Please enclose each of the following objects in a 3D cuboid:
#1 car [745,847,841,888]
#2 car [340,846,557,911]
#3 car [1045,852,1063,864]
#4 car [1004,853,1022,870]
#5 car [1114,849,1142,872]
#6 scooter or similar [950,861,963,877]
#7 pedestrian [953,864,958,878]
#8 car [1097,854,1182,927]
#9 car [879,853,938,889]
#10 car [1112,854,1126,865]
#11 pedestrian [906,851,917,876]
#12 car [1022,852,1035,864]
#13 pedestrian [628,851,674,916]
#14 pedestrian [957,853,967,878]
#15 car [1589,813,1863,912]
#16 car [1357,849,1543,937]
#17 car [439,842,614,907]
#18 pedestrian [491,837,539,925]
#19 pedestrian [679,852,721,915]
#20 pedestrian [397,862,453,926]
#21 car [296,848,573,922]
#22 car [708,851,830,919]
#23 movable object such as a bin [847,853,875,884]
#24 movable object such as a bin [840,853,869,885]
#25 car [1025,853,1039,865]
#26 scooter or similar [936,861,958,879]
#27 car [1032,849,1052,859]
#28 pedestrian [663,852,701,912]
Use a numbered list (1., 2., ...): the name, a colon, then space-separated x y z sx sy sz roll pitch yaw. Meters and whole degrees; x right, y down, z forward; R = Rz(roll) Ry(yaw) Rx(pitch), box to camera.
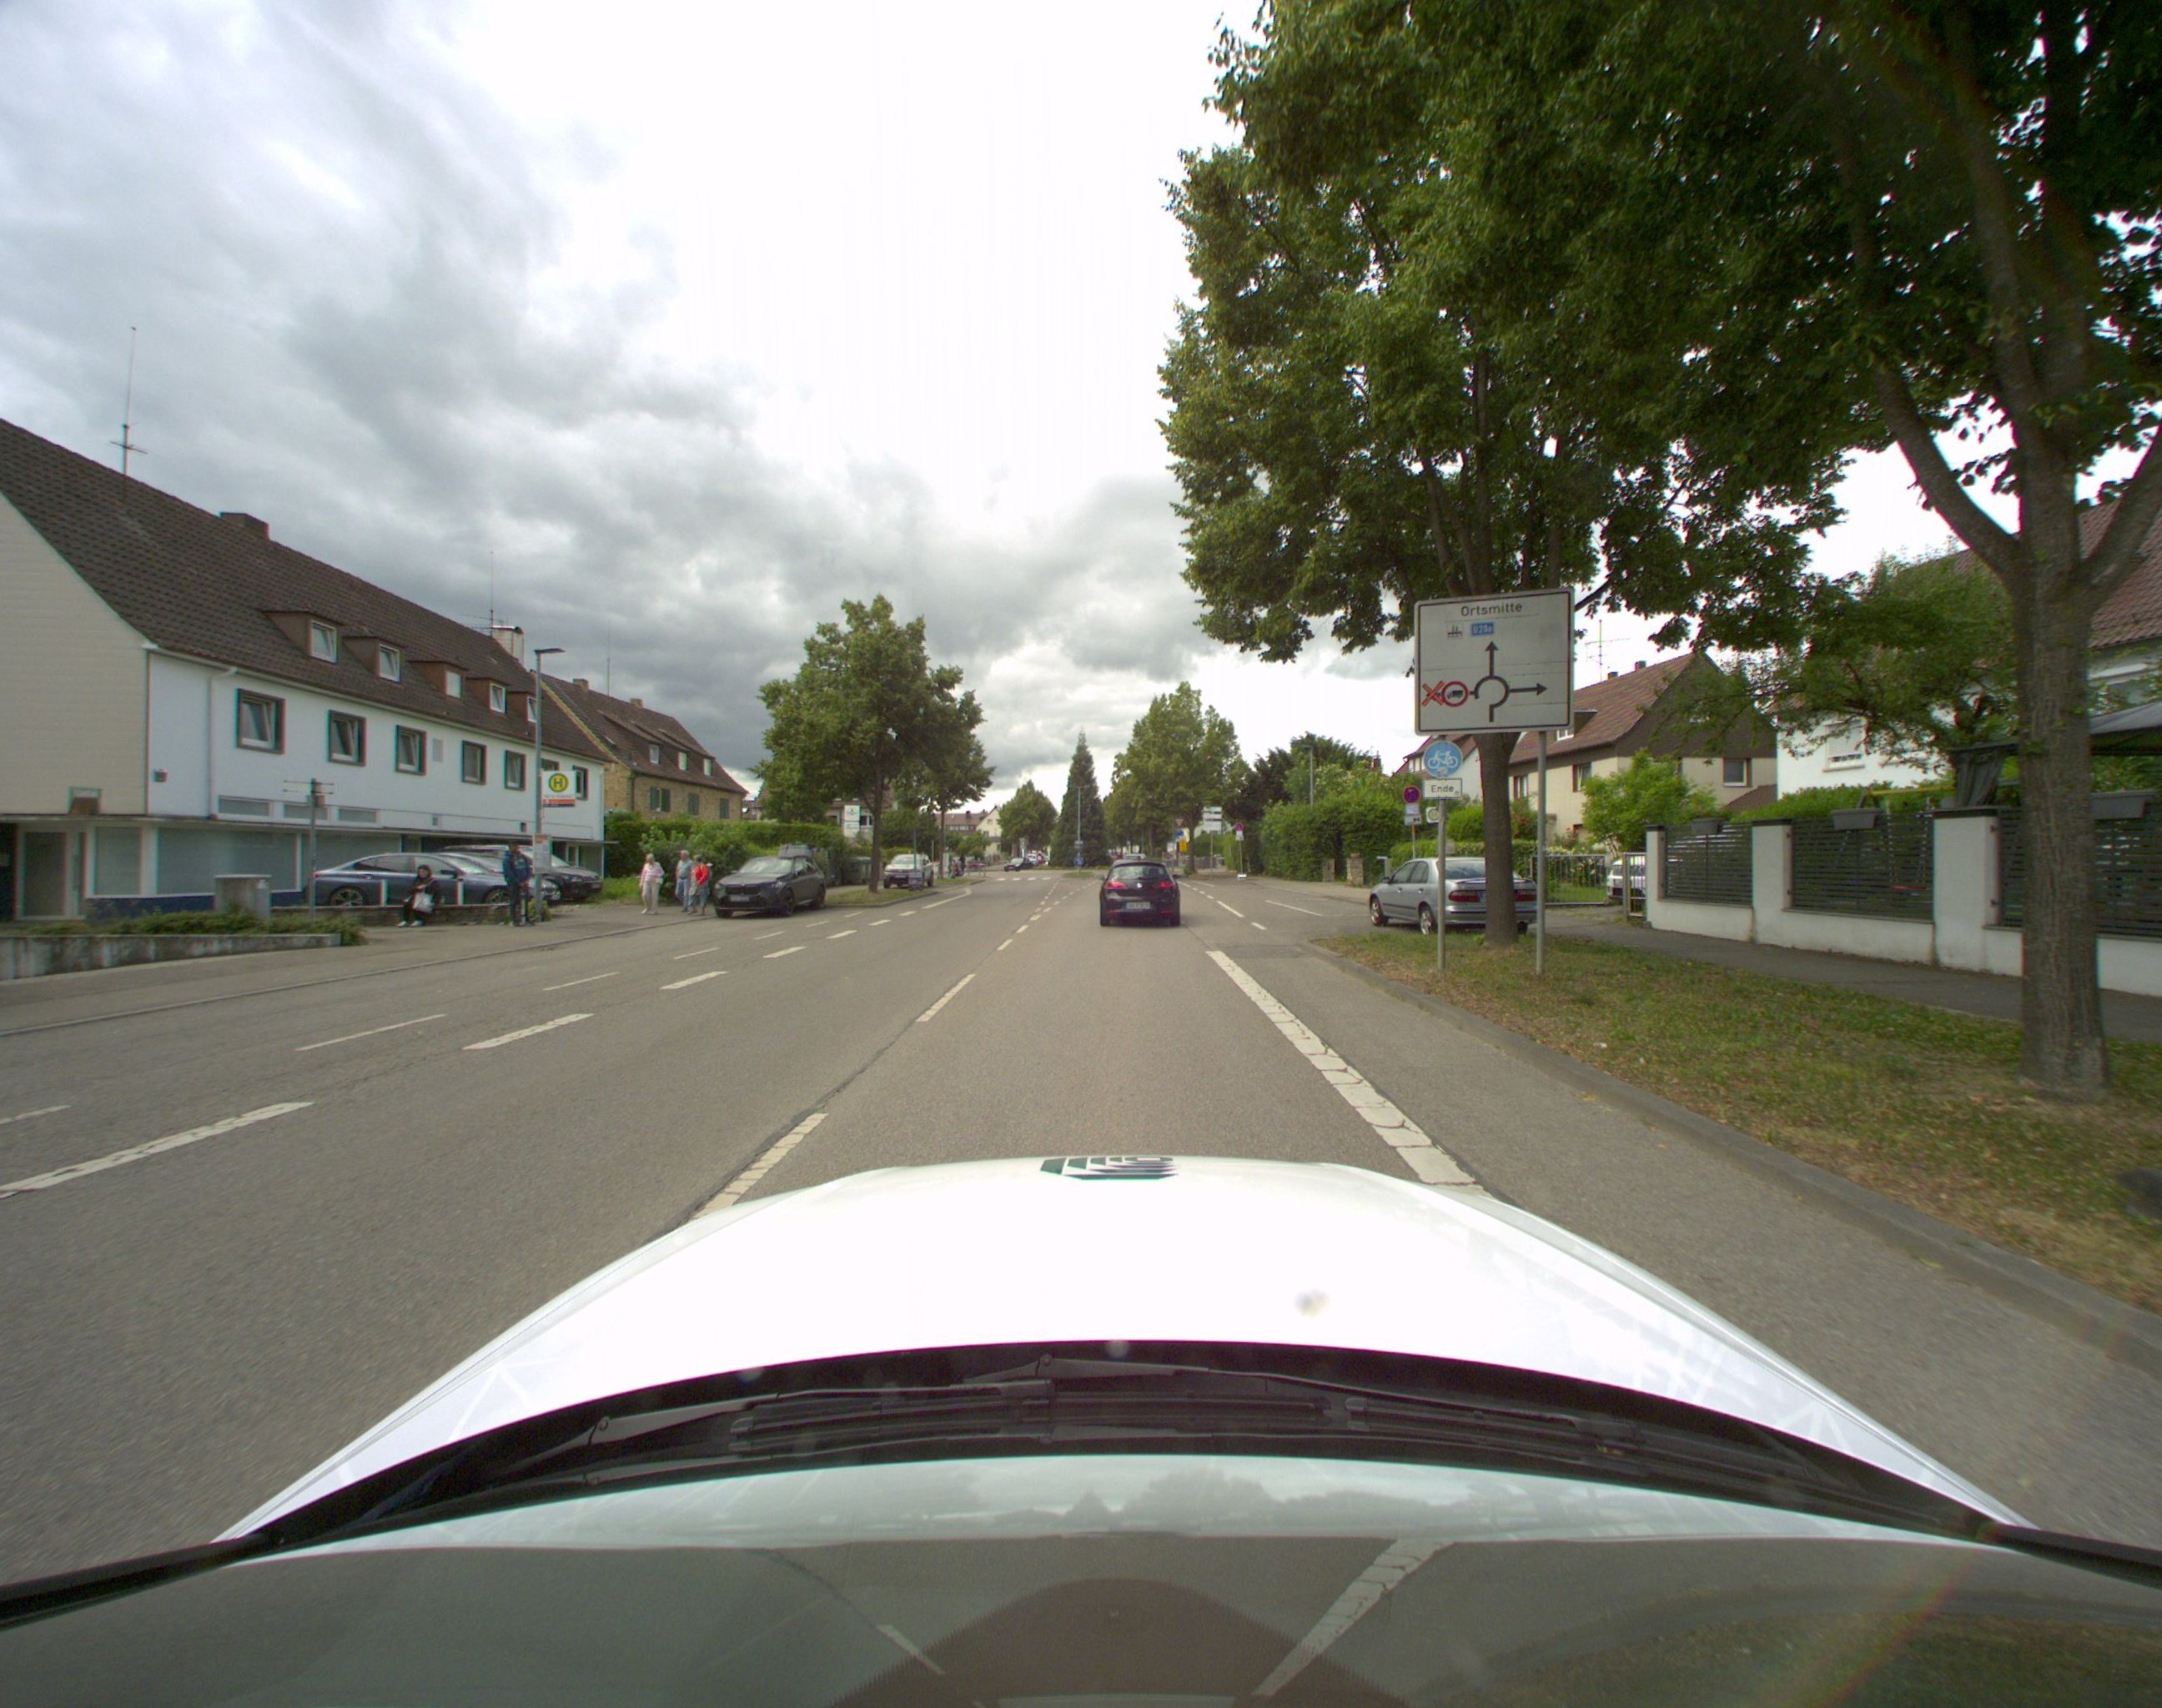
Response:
1. car: -14.102 0.641 40.018 3.972 1.891 2.001 -1 0 1
2. car: -16.043 0.598 20.850 3.980 1.482 1.788 2 0 -5
3. car: -3.625 0.546 108.789 1.860 1.560 4.265 -1 0 5
4. car: -6.725 0.731 80.824 1.564 1.634 3.620 -1 0 -1
5. car: 3.410 0.447 59.649 1.985 1.613 4.003 0 0 3
6. scooter or similar: -8.633 1.028 56.494 0.409 1.095 0.959 2 -1 -39
7. pedestrian: -8.443 1.133 54.628 0.239 0.894 0.257 -1 0 -27
8. car: 1.351 0.757 18.743 1.724 1.486 4.005 -1 0 4
9. car: -8.311 0.785 39.653 1.854 1.653 4.295 0 0 1
10. car: 5.551 0.776 118.549 1.474 1.489 3.372 -1 0 -8
11. pedestrian: -11.897 0.657 57.224 0.565 1.784 0.534 0 0 -38
12. car: -8.735 0.696 135.324 2.024 1.970 3.998 -1 0 -1
13. pedestrian: -11.383 0.765 21.577 0.785 1.663 0.880 -1 0 -5
14. pedestrian: -8.146 0.782 55.906 0.484 1.669 0.510 0 0 -32
15. car: 12.865 0.163 16.440 3.975 1.823 1.999 -1 0 -1
16. car: 6.624 0.675 15.171 1.605 1.377 4.389 -1 -1 2
17. car: -16.117 0.566 23.759 3.960 1.690 1.876 0 3 12
18. pedestrian: -11.866 0.550 17.091 0.502 1.806 0.672 -1 0 1
19. pedestrian: -10.296 0.788 22.016 0.785 1.663 0.753 1 0 -5
20. pedestrian: -13.704 0.821 17.023 0.585 1.313 0.706 -1 0 3
21. car: -14.676 0.687 18.839 4.521 1.554 2.026 1 -1 -16
22. car: -8.721 0.800 23.240 1.719 1.725 4.564 0 0 0
23. movable object such as a bin: -11.901 0.779 44.040 1.202 1.651 0.997 2 -1 -1
24. movable object such as a bin: -11.762 0.774 42.357 1.202 1.651 0.997 2 -1 -1
25. car: -7.059 0.719 117.365 1.791 1.601 4.000 -1 0 1
26. scooter or similar: -8.576 1.033 52.154 1.292 1.139 0.344 -1 0 -30
27. car: -8.731 0.010 182.465 3.953 1.970 2.047 -1 0 20
28. pedestrian: -11.162 0.776 22.809 0.785 1.663 0.590 -1 0 -6
